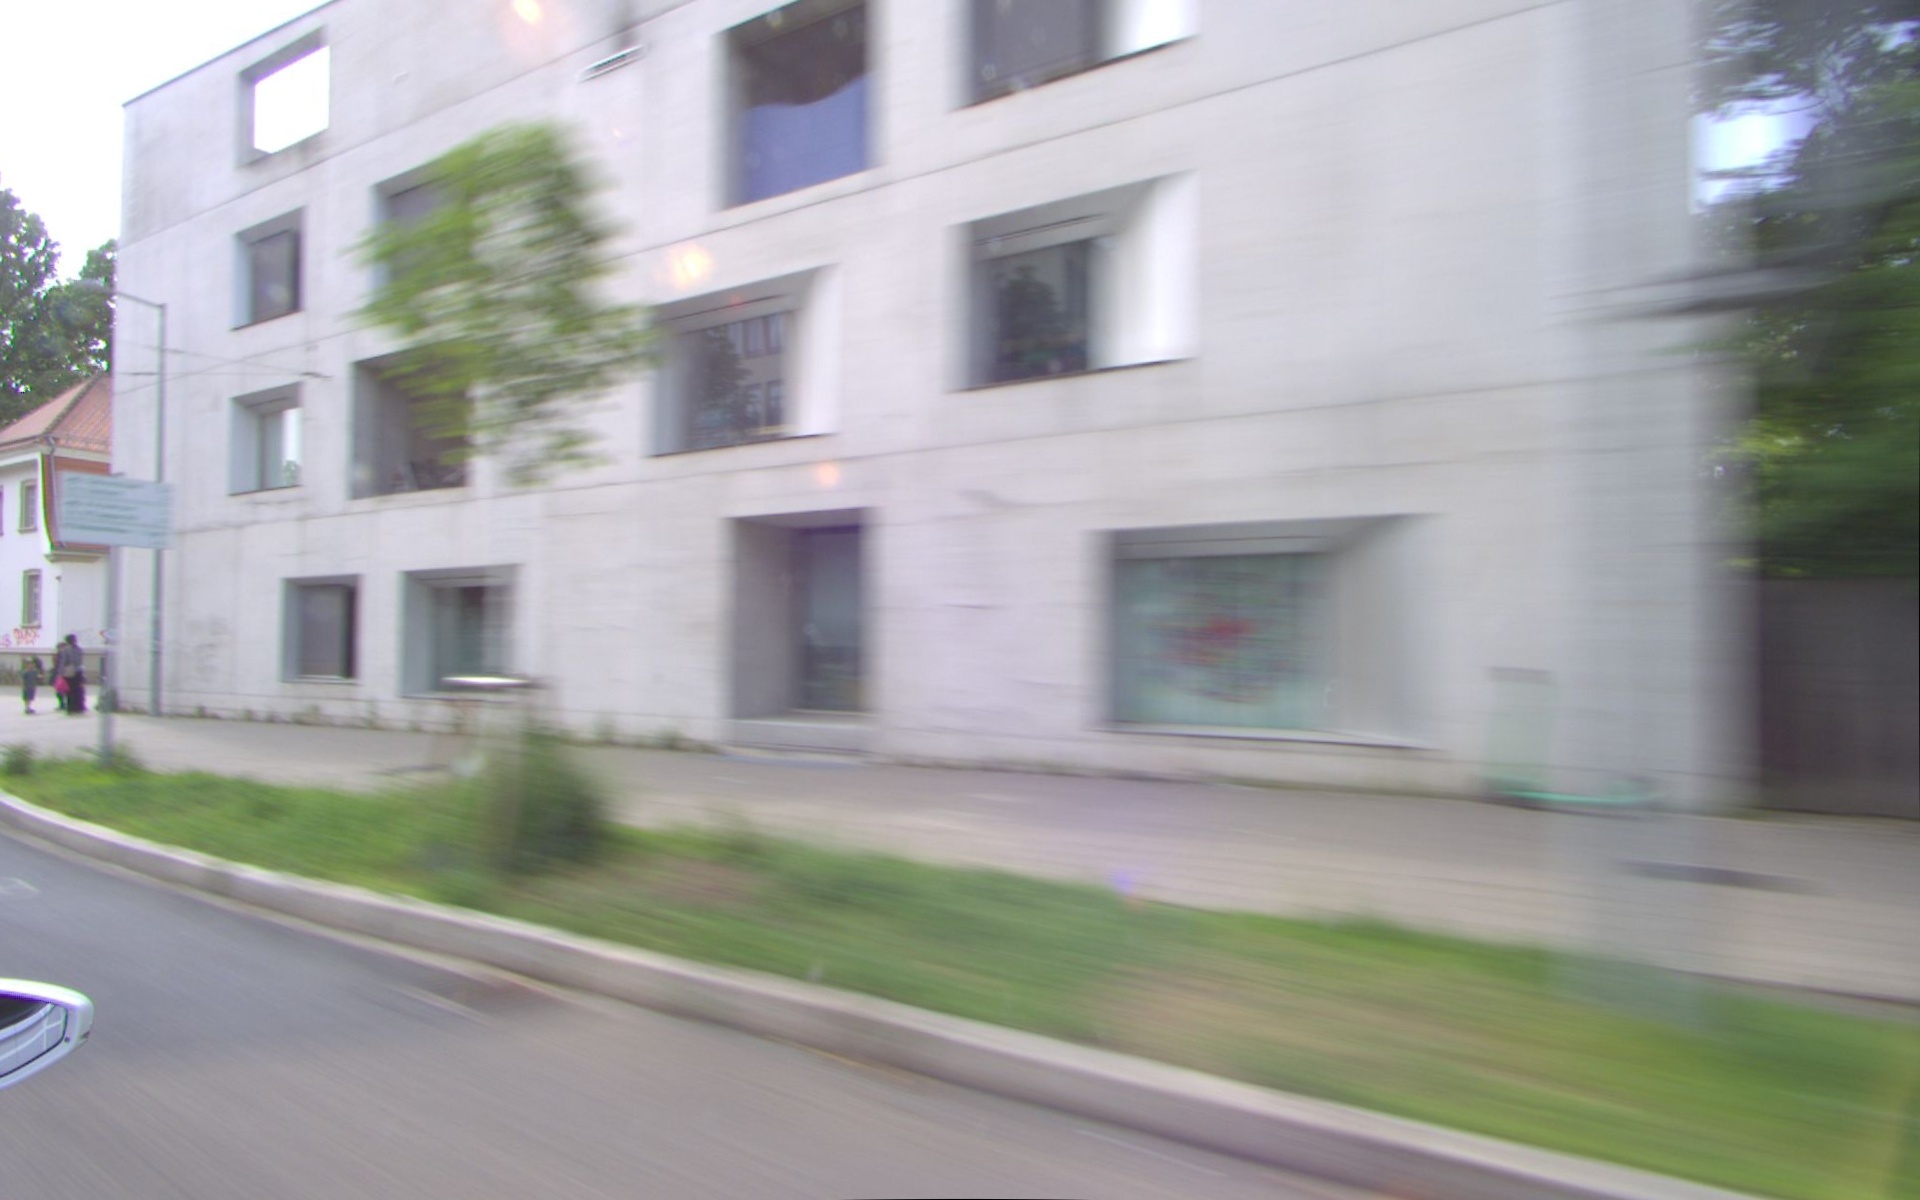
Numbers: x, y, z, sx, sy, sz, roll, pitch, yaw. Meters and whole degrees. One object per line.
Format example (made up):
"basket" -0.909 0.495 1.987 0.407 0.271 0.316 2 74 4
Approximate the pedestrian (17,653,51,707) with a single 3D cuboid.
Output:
"pedestrian" -21.306 1.833 23.048 0.398 1.216 0.422 1 0 -4

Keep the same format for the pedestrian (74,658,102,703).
"pedestrian" -20.279 1.864 23.283 0.390 1.024 0.343 1 0 21

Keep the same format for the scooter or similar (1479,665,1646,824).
"scooter or similar" 4.928 1.144 8.226 1.135 1.196 0.321 -1 -3 43

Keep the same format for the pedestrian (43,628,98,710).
"pedestrian" -19.722 1.508 22.204 0.734 1.747 0.684 1 0 25

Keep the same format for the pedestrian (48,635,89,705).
"pedestrian" -20.941 1.630 23.526 0.539 1.601 0.520 1 0 20

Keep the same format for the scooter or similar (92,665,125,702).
"scooter or similar" -19.972 1.954 23.492 0.262 0.811 0.550 1 2 6
